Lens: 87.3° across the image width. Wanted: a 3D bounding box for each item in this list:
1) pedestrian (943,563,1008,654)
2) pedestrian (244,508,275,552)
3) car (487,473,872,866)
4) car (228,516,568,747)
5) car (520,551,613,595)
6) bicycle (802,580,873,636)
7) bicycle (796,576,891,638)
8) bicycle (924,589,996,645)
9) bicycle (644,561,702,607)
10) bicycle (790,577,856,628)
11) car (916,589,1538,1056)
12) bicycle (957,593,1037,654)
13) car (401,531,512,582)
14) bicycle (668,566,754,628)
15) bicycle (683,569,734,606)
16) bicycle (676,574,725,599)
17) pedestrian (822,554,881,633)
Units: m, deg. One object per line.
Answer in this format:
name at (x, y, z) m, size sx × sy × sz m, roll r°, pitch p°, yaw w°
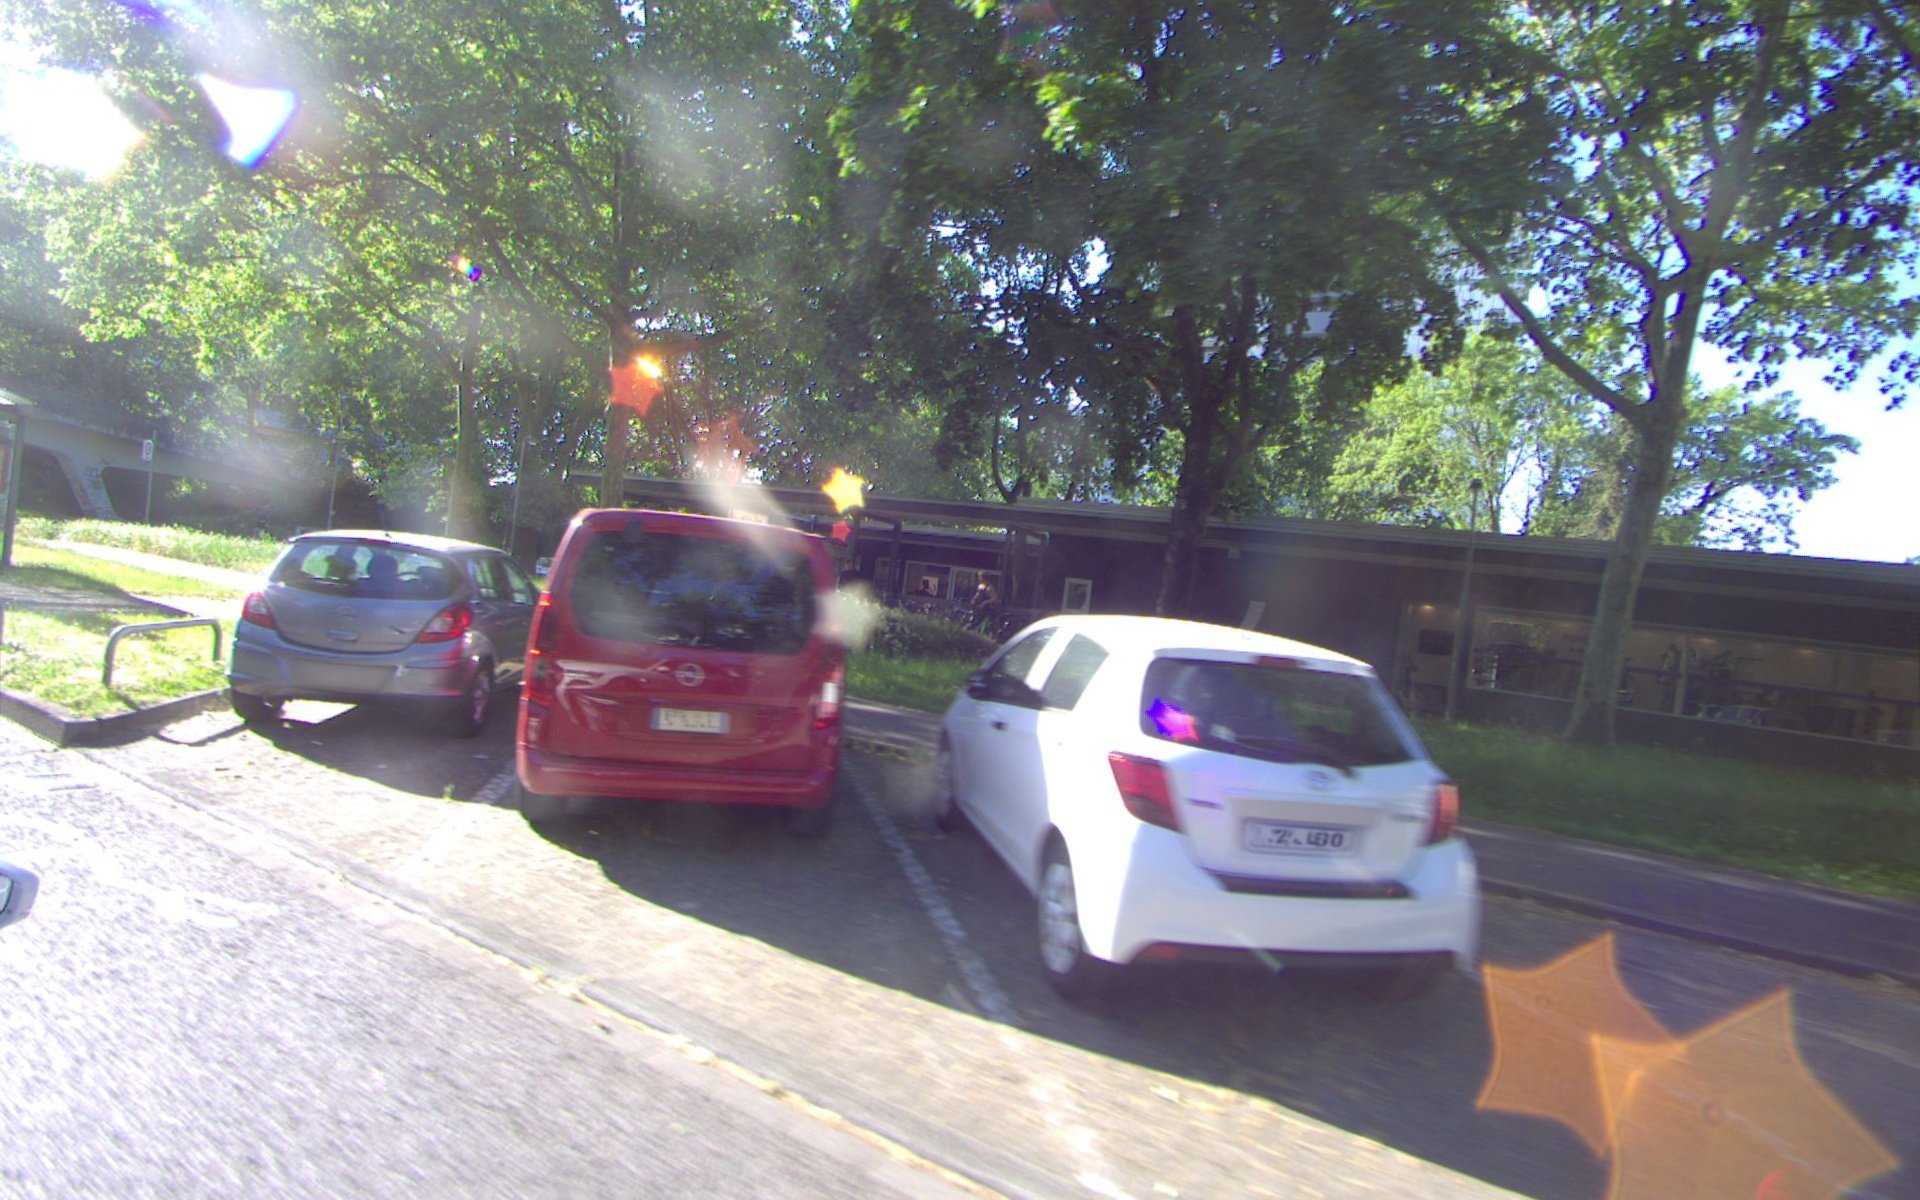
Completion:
pedestrian at (0.350, 0.201, 22.200) m, size 0.935 × 1.863 × 0.966 m, roll 7°, pitch 1°, yaw 24°
pedestrian at (-31.101, -3.102, 44.667) m, size 0.726 × 1.799 × 0.660 m, roll 9°, pitch 1°, yaw 24°
car at (-1.787, 0.329, 7.076) m, size 1.739 × 1.866 × 3.941 m, roll 6°, pitch 1°, yaw -11°
car at (-4.654, 0.174, 8.936) m, size 1.494 × 1.491 × 3.818 m, roll 6°, pitch 1°, yaw -13°
car at (-18.426, -1.249, 47.304) m, size 1.637 × 1.514 × 3.985 m, roll 9°, pitch 0°, yaw 22°
bicycle at (-3.295, 0.201, 26.920) m, size 1.776 × 1.268 × 0.576 m, roll 7°, pitch -1°, yaw 32°
bicycle at (-2.539, 0.167, 22.125) m, size 2.059 × 1.172 × 0.555 m, roll 6°, pitch 2°, yaw -43°
bicycle at (-0.008, 0.446, 26.955) m, size 1.776 × 1.268 × 0.576 m, roll 7°, pitch -1°, yaw 32°
bicycle at (-9.117, -0.521, 31.940) m, size 1.776 × 1.268 × 0.576 m, roll 7°, pitch -1°, yaw 32°
bicycle at (-3.951, 0.069, 28.993) m, size 1.776 × 1.268 × 0.576 m, roll 7°, pitch -1°, yaw 32°
car at (0.925, 0.824, 5.382) m, size 1.654 × 1.514 × 3.617 m, roll 6°, pitch 1°, yaw -11°
bicycle at (0.897, 0.563, 24.534) m, size 1.776 × 1.268 × 0.576 m, roll 7°, pitch -1°, yaw 32°
car at (-21.151, -1.785, 42.366) m, size 1.680 × 1.514 × 3.736 m, roll 10°, pitch 0°, yaw 30°
bicycle at (-5.236, -0.044, 21.270) m, size 0.551 × 1.172 × 2.071 m, roll 7°, pitch 1°, yaw 22°
bicycle at (-8.887, -0.437, 35.639) m, size 0.698 × 1.129 × 1.804 m, roll 5°, pitch 0°, yaw 25°
bicycle at (-11.111, -0.582, 43.018) m, size 2.158 × 0.972 × 0.505 m, roll 3°, pitch 0°, yaw 27°
pedestrian at (-2.534, -0.140, 23.588) m, size 0.719 × 1.729 × 1.130 m, roll 7°, pitch 1°, yaw 24°
